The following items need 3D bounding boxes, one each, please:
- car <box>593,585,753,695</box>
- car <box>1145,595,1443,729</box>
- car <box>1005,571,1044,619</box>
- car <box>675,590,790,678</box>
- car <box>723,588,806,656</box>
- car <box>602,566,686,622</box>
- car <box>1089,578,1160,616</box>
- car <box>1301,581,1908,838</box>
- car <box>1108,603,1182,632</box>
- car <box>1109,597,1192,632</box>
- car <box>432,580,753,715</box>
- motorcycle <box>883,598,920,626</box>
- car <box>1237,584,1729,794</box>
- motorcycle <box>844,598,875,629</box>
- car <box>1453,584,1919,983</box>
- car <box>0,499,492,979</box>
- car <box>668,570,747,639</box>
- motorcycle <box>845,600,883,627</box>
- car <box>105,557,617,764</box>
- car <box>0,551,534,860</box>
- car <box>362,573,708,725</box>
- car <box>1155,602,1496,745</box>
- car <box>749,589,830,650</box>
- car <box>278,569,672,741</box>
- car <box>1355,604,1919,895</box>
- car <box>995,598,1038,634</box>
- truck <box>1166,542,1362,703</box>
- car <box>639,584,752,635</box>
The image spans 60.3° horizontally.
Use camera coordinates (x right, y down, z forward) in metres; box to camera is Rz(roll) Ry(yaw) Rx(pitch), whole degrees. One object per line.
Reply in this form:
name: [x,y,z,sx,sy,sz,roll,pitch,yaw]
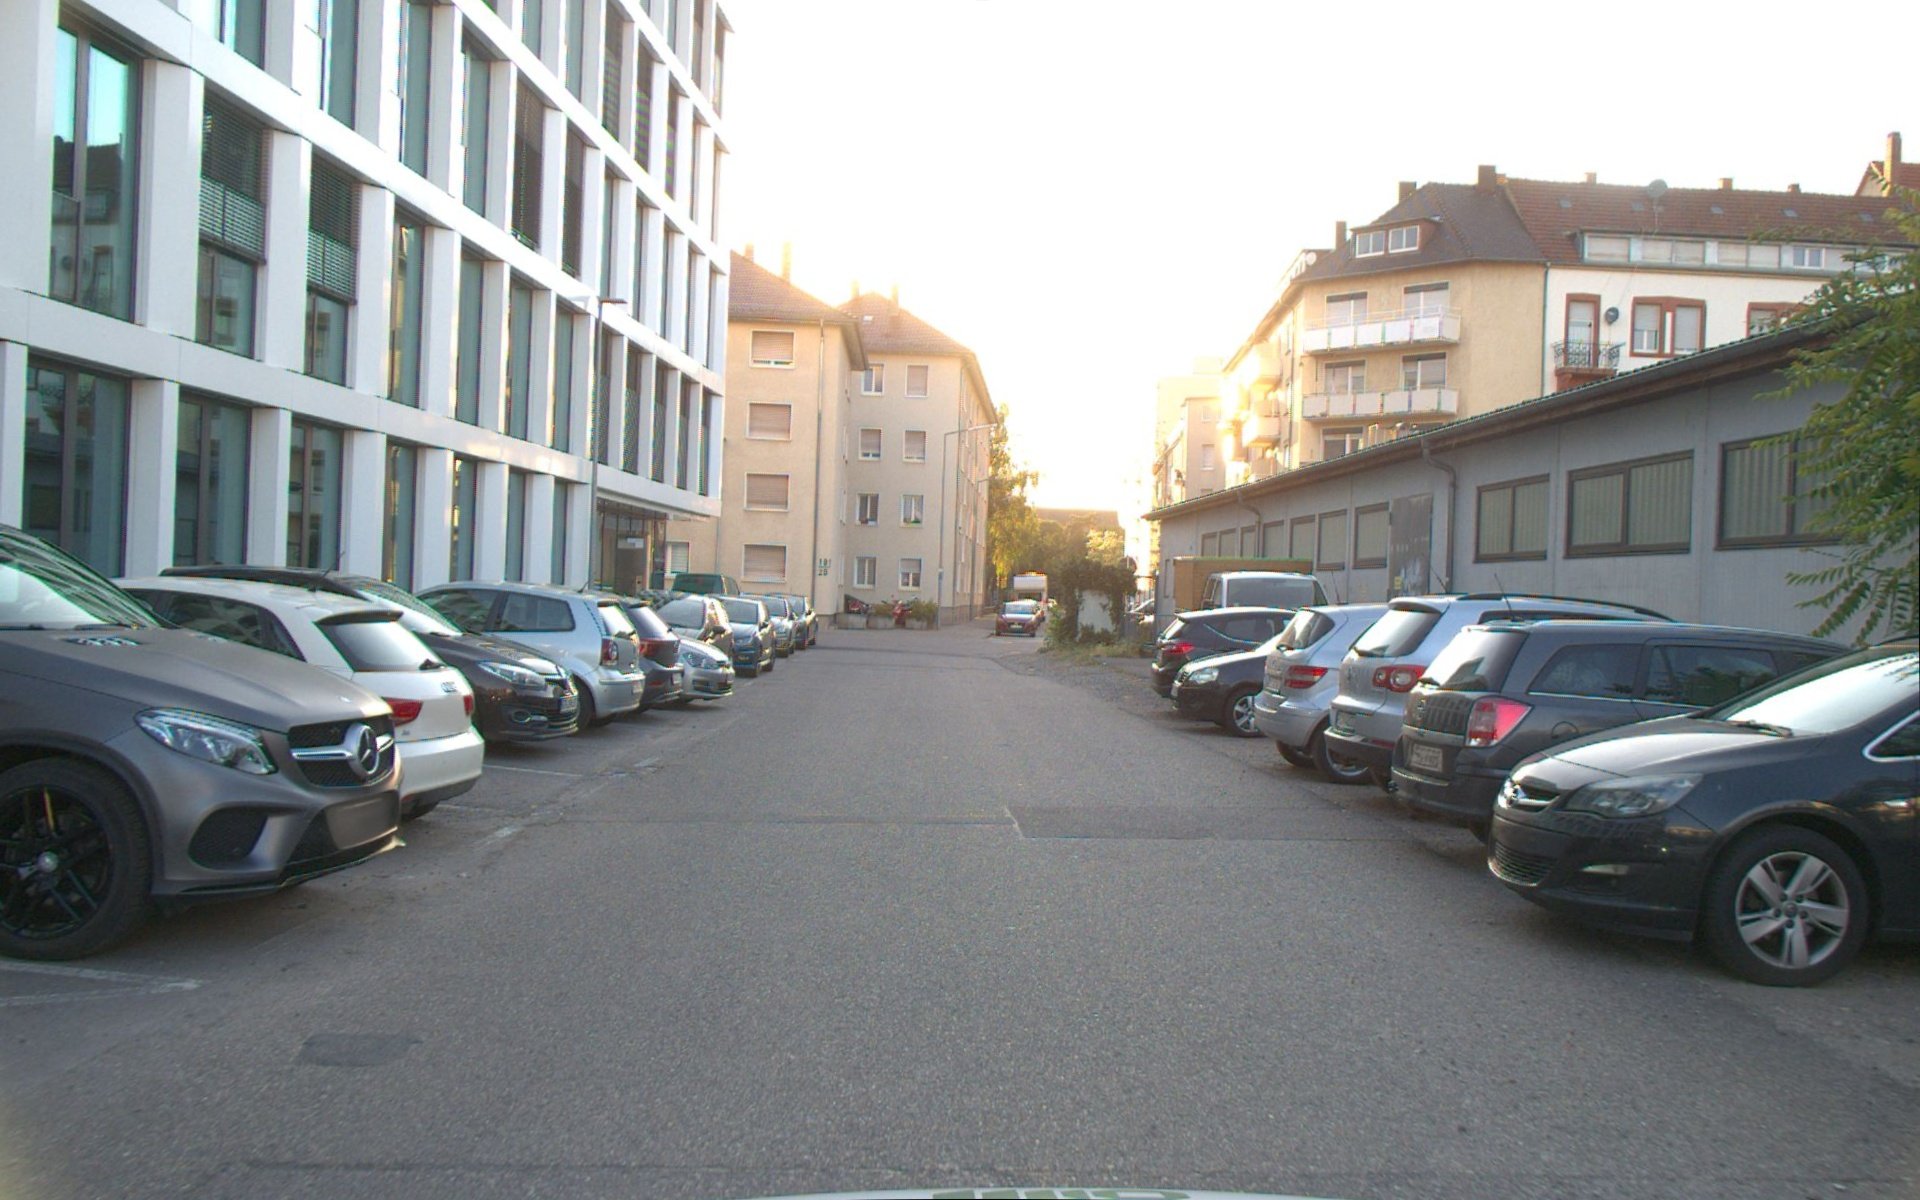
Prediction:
car: [-4.487,0.588,26.423,1.614,1.463,4.202,5,0,1]
car: [4.496,0.811,22.688,3.682,1.562,1.892,3,1,1]
car: [4.704,-0.353,118.930,2.565,3.326,7.700,0,0,4]
car: [-4.387,0.613,32.432,1.615,1.463,4.184,5,0,-1]
car: [-4.928,0.516,42.091,1.676,1.504,4.182,5,0,-3]
car: [-10.000,-0.148,52.630,1.743,1.577,4.330,2,-2,0]
car: [12.076,-0.208,121.441,4.727,2.765,2.132,0,0,30]
car: [4.817,0.788,12.728,3.905,1.647,1.826,3,0,-4]
car: [10.818,1.005,96.872,4.233,1.666,1.818,0,-1,2]
car: [10.876,0.829,94.689,4.623,1.943,2.060,0,-1,2]
car: [-4.877,0.603,22.286,3.845,1.537,1.688,3,0,3]
motorcycle: [-2.529,0.538,71.952,0.675,1.180,2.031,2,0,27]
car: [4.739,0.776,15.416,3.903,1.637,1.938,3,0,-1]
motorcycle: [-4.344,0.573,71.816,0.708,1.287,2.082,2,0,14]
car: [4.604,0.820,7.557,4.116,1.529,1.890,3,-1,2]
car: [-4.697,0.418,7.372,4.522,1.735,2.006,3,0,5]
car: [-7.986,0.090,52.673,1.761,2.014,4.689,2,1,0]
motorcycle: [-4.028,0.571,69.519,0.709,1.098,2.080,2,0,24]
car: [-5.285,0.498,14.929,3.882,1.537,1.796,3,0,3]
car: [-4.657,0.546,10.013,3.589,1.537,1.697,3,0,5]
car: [-4.982,0.549,19.700,3.579,1.537,1.688,3,0,2]
car: [4.375,0.869,20.194,3.683,1.469,1.845,3,-1,-1]
car: [-4.878,0.538,47.783,1.744,1.504,4.331,5,0,0]
car: [-5.046,0.540,17.527,3.579,1.537,1.688,3,0,2]
car: [4.603,0.873,10.103,3.902,1.470,1.827,3,-1,0]
car: [2.521,0.711,73.906,1.807,1.499,4.079,2,0,2]
truck: [4.736,0.326,26.697,2.055,2.239,5.710,2,0,0]
car: [-9.905,0.332,62.034,3.926,1.645,1.881,2,4,-2]
